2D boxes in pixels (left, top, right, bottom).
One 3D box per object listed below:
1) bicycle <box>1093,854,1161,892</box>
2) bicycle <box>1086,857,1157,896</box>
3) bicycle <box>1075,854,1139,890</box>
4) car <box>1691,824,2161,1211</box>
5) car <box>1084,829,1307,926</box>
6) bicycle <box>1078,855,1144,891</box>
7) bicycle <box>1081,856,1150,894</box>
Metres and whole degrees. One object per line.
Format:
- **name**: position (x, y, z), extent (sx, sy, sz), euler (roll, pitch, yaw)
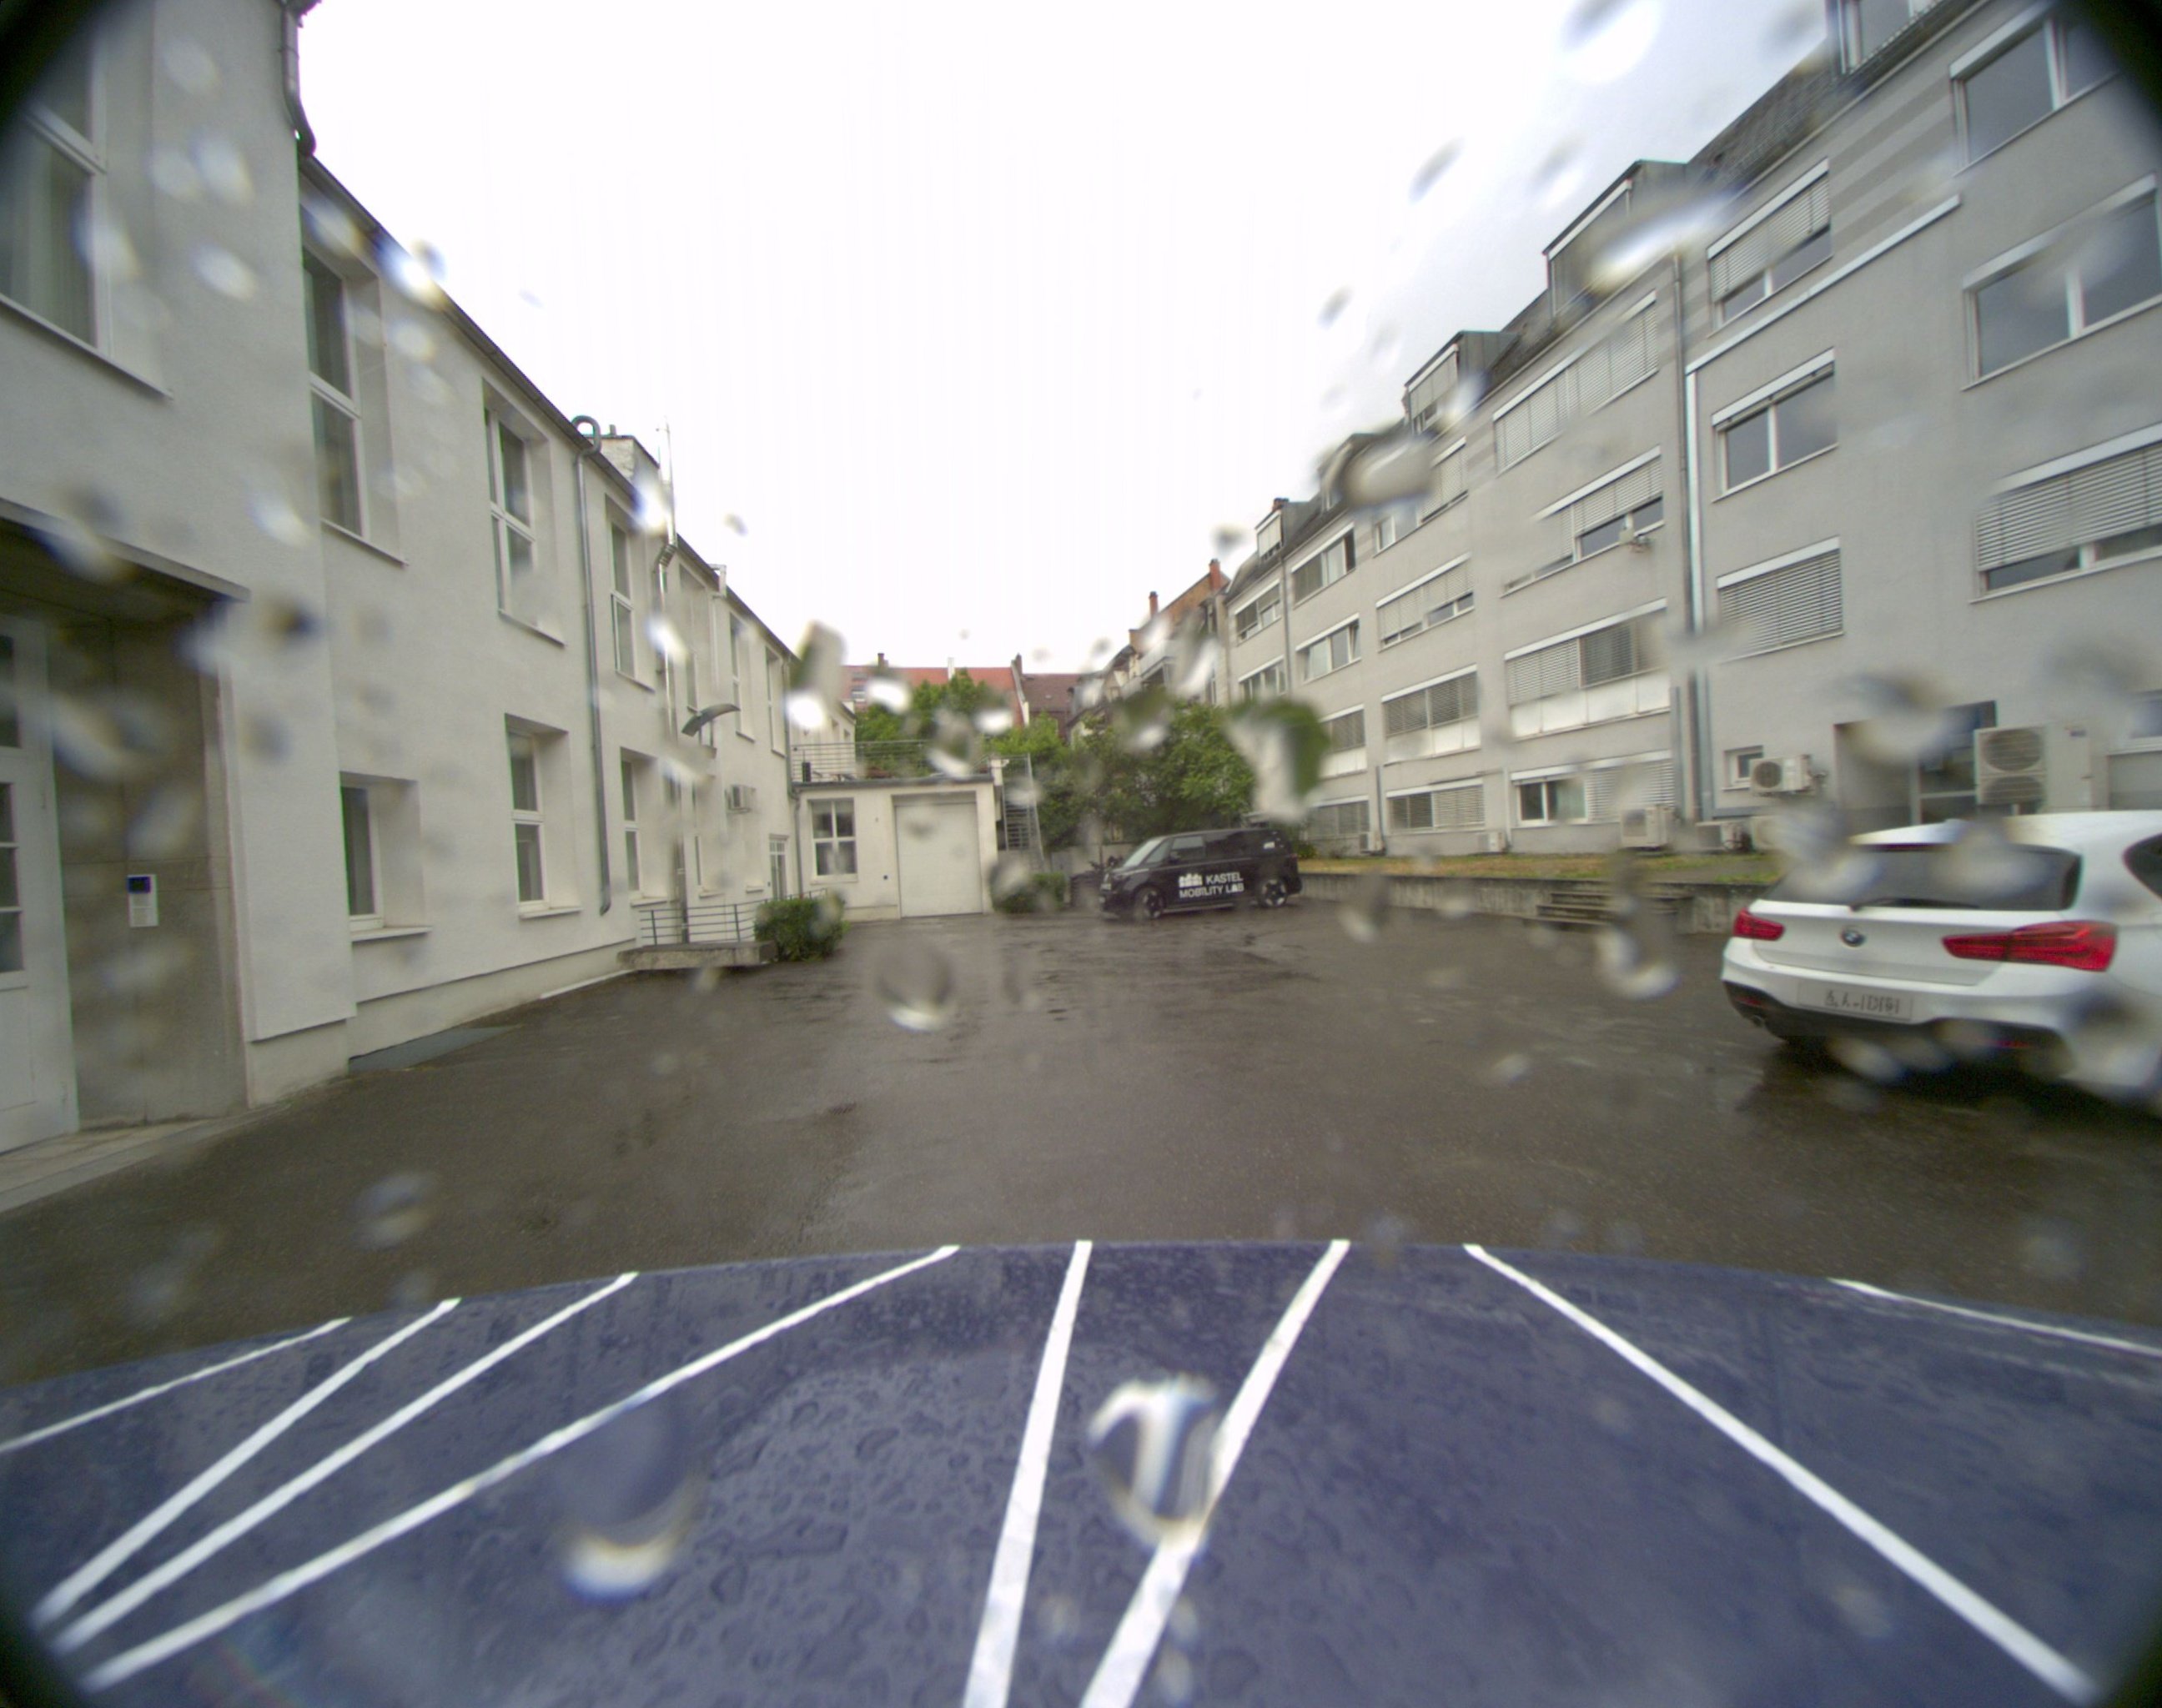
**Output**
- **bicycle**: position (1.673, 0.678, 27.650), extent (2.320, 1.180, 0.643), euler (-3, 3, -6)
- **bicycle**: position (1.377, 0.763, 26.146), extent (2.320, 1.180, 0.643), euler (-3, 3, -6)
- **bicycle**: position (0.980, 0.666, 28.712), extent (2.320, 1.180, 0.643), euler (-3, 3, -6)
- **car**: position (6.038, 0.607, 4.303), extent (4.153, 1.425, 1.751), euler (-3, 1, -11)
- **car**: position (2.617, 0.505, 17.749), extent (4.633, 1.826, 1.986), euler (-4, 0, -14)
- **bicycle**: position (1.103, 0.688, 28.090), extent (2.320, 1.180, 0.643), euler (-3, 3, -6)
- **bicycle**: position (1.203, 0.736, 26.928), extent (2.320, 1.180, 0.643), euler (-3, 3, -6)
